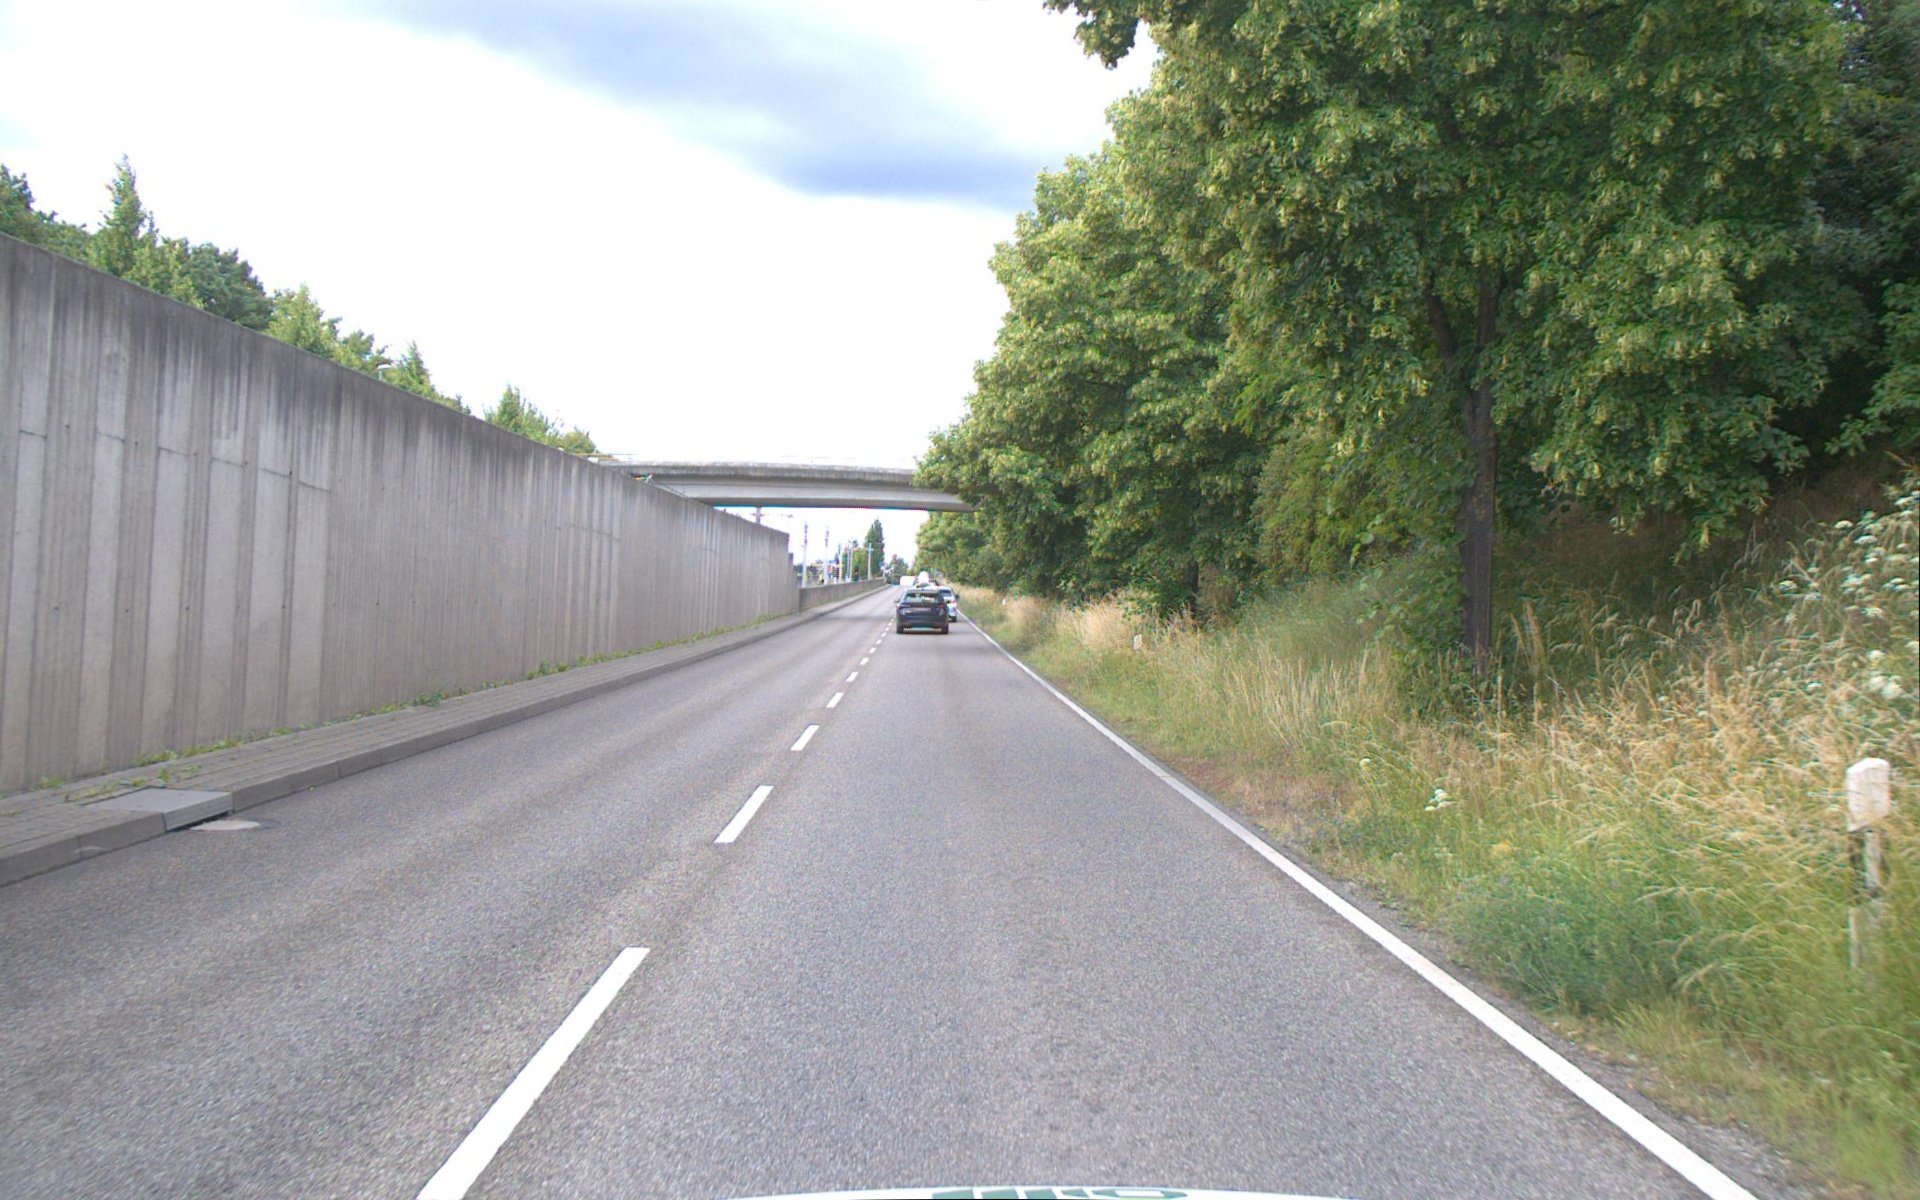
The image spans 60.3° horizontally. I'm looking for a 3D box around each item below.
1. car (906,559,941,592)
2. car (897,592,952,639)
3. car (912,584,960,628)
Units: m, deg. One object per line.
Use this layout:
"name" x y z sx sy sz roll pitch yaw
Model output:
"car" -2.093 -1.386 95.456 1.953 1.771 3.999 1 0 -1
"car" -1.203 0.496 55.539 1.745 1.493 3.999 1 0 -1
"car" -1.054 0.246 71.032 1.953 1.783 3.999 1 0 -1
